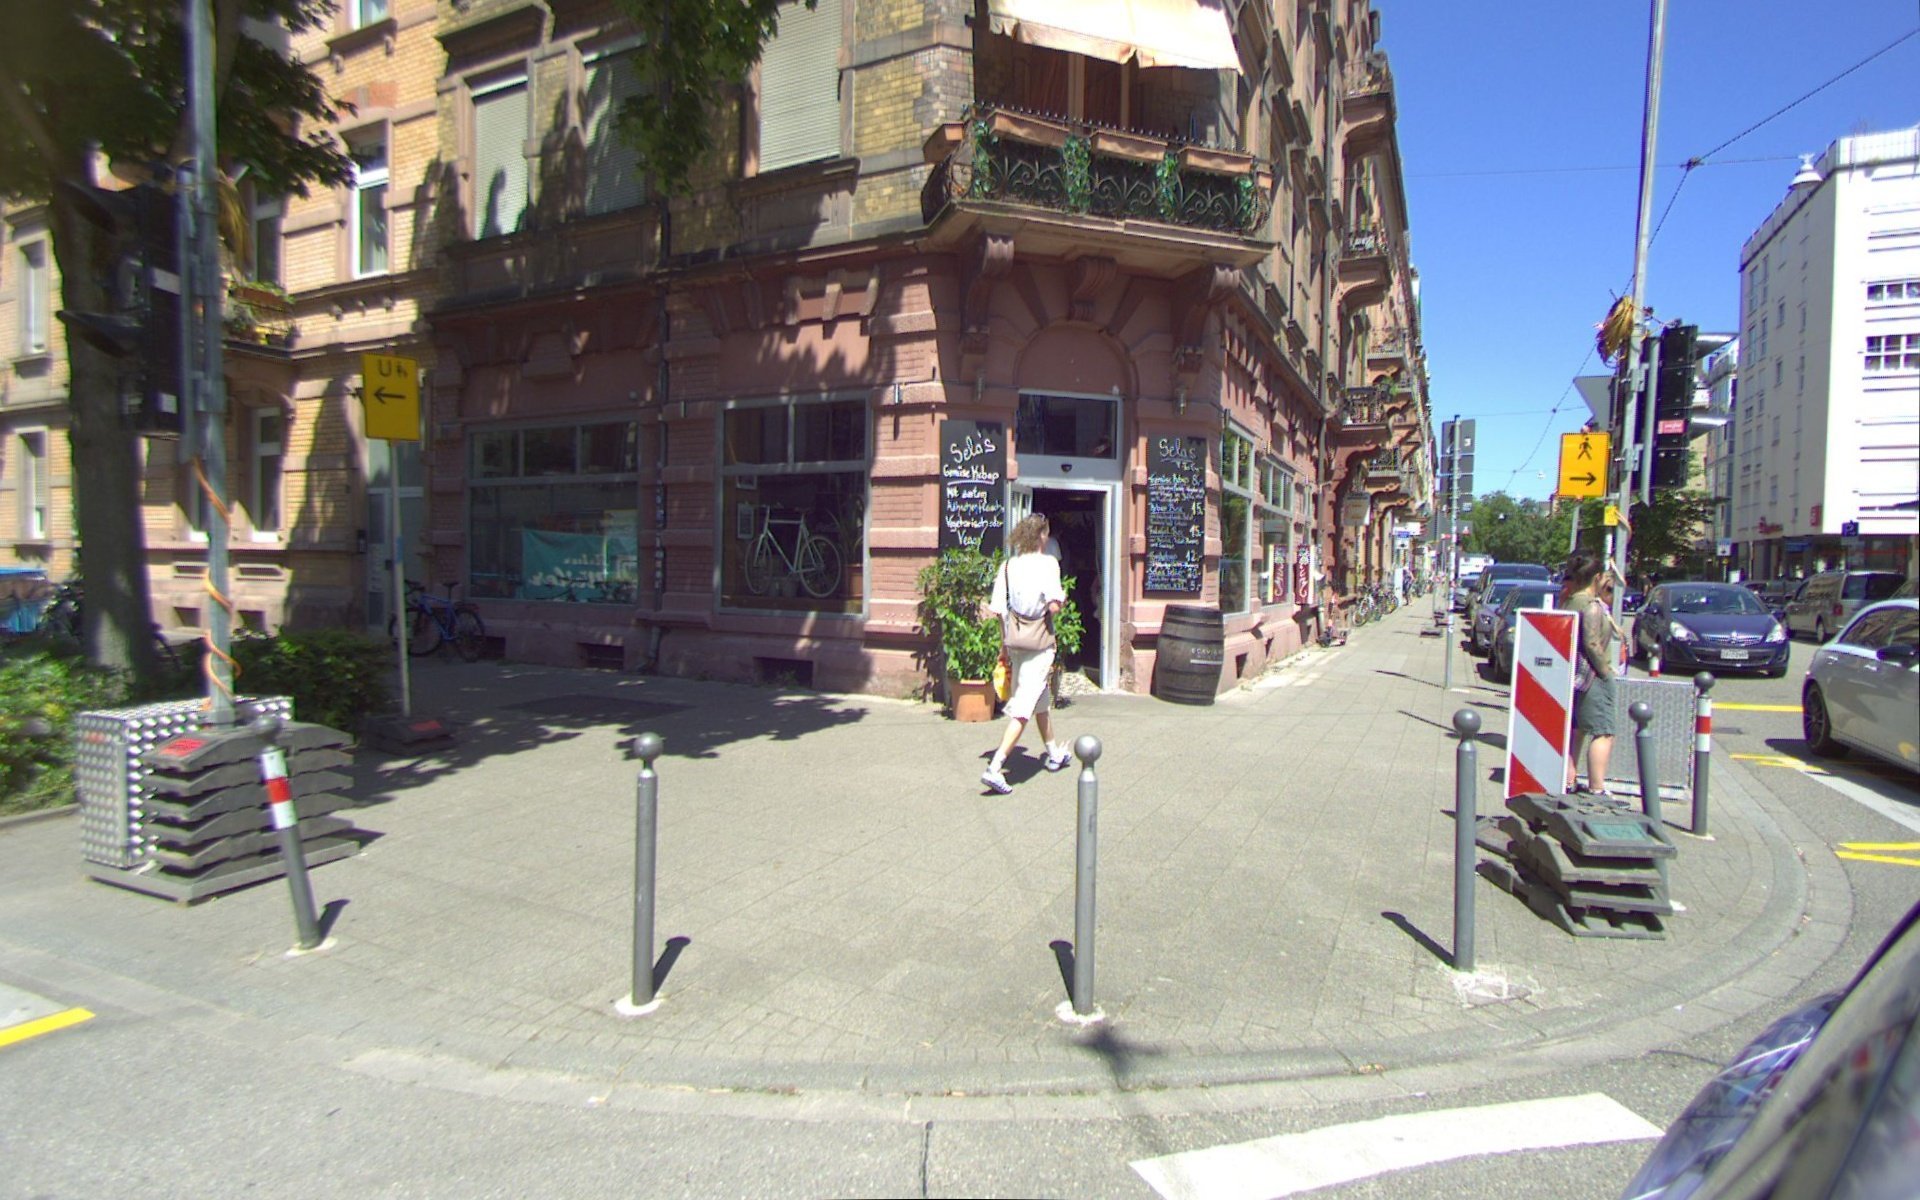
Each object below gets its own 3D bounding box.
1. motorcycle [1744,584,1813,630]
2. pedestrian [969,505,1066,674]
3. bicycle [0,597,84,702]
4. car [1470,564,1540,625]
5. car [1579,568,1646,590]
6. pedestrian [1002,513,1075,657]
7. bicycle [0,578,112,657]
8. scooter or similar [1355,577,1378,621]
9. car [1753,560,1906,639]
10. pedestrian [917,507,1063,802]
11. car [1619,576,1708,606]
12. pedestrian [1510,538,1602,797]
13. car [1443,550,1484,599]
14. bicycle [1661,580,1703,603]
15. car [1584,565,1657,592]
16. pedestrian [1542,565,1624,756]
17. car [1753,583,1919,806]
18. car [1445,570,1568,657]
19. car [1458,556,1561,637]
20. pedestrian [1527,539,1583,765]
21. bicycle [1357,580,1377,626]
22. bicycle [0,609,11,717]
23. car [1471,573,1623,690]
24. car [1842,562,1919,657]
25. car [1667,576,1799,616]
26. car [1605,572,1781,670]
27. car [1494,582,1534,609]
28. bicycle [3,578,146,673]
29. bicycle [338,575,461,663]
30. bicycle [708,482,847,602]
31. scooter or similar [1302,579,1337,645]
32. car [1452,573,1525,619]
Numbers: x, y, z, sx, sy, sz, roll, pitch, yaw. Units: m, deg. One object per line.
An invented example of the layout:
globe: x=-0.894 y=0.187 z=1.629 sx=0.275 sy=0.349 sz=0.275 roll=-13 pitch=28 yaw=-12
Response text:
motorcycle: x=24.146 y=0.183 z=29.875 sx=0.386 sy=1.300 sz=1.557 roll=-2 pitch=2 yaw=-32
pedestrian: x=0.643 y=-0.125 z=11.416 sx=0.922 sy=1.840 sz=0.458 roll=0 pitch=5 yaw=-21
bicycle: x=-9.335 y=0.449 z=9.913 sx=2.057 sy=0.882 sz=0.504 roll=2 pitch=2 yaw=30
car: x=16.804 y=-0.227 z=31.342 sx=1.690 sy=1.755 sz=3.966 roll=1 pitch=2 yaw=25
car: x=47.245 y=-1.509 z=73.309 sx=3.849 sy=1.514 sz=1.638 roll=2 pitch=2 yaw=26
pedestrian: x=0.975 y=-0.195 z=12.610 sx=0.709 sy=1.739 sz=0.498 roll=0 pitch=3 yaw=-19
bicycle: x=-11.320 y=0.189 z=12.603 sx=2.057 sy=0.882 sz=0.504 roll=2 pitch=2 yaw=30
scooter or similar: x=11.473 y=-0.046 z=28.532 sx=0.473 sy=1.167 sz=2.131 roll=1 pitch=2 yaw=25
car: x=22.460 y=-0.077 z=26.362 sx=1.776 sy=1.851 sz=4.858 roll=0 pitch=1 yaw=25
pedestrian: x=0.199 y=0.304 z=6.465 sx=0.478 sy=1.753 sz=0.858 roll=2 pitch=3 yaw=45
car: x=39.514 y=-0.540 z=56.916 sx=3.849 sy=1.548 sz=1.638 roll=2 pitch=2 yaw=26
pedestrian: x=3.811 y=0.399 z=6.476 sx=0.457 sy=1.579 sz=0.473 roll=2 pitch=2 yaw=32
car: x=29.818 y=-1.512 z=60.029 sx=2.048 sy=2.736 sz=4.996 roll=0 pitch=1 yaw=25
bicycle: x=33.924 y=-0.399 z=47.561 sx=1.598 sy=1.104 sz=0.367 roll=0 pitch=0 yaw=32
car: x=44.513 y=-1.480 z=68.284 sx=3.849 sy=1.769 sz=1.638 roll=2 pitch=2 yaw=26
pedestrian: x=5.329 y=0.491 z=8.666 sx=0.491 sy=1.561 sz=0.431 roll=4 pitch=3 yaw=32
car: x=7.699 y=0.627 z=7.541 sx=1.796 sy=1.443 sz=4.208 roll=2 pitch=2 yaw=24
car: x=10.704 y=0.160 z=20.088 sx=1.712 sy=1.449 sz=4.450 roll=3 pitch=3 yaw=24
car: x=13.656 y=-0.155 z=25.366 sx=1.811 sy=1.788 sz=4.304 roll=3 pitch=3 yaw=24
pedestrian: x=4.614 y=0.382 z=7.845 sx=0.331 sy=1.696 sz=0.397 roll=2 pitch=2 yaw=32
bicycle: x=10.487 y=0.065 z=26.072 sx=0.351 sy=1.117 sz=1.741 roll=1 pitch=2 yaw=25
bicycle: x=-8.877 y=0.498 z=8.684 sx=2.057 sy=0.882 sz=0.504 roll=2 pitch=2 yaw=30
car: x=8.610 y=0.356 z=15.104 sx=1.616 sy=1.449 sz=3.628 roll=3 pitch=3 yaw=26
car: x=19.920 y=0.157 z=20.434 sx=1.774 sy=1.834 sz=4.664 roll=0 pitch=1 yaw=23
car: x=29.826 y=-0.192 z=39.200 sx=3.861 sy=1.443 sz=1.795 roll=2 pitch=2 yaw=32
car: x=12.575 y=0.272 z=17.625 sx=1.763 sy=1.487 sz=3.966 roll=0 pitch=1 yaw=25
car: x=32.336 y=-0.289 z=59.159 sx=1.731 sy=1.407 sz=3.967 roll=2 pitch=2 yaw=25
bicycle: x=-9.322 y=0.232 z=10.626 sx=2.057 sy=0.882 sz=0.504 roll=2 pitch=2 yaw=30
bicycle: x=-7.089 y=0.217 z=12.781 sx=1.680 sy=1.020 sz=0.518 roll=2 pitch=2 yaw=27
bicycle: x=-1.887 y=-0.591 z=10.431 sx=1.414 sy=1.166 sz=0.505 roll=2 pitch=2 yaw=29
scooter or similar: x=6.733 y=0.210 z=18.938 sx=0.291 sy=1.191 sz=1.256 roll=1 pitch=2 yaw=35
car: x=18.451 y=-0.189 z=35.490 sx=1.744 sy=1.467 sz=3.881 roll=0 pitch=2 yaw=20
